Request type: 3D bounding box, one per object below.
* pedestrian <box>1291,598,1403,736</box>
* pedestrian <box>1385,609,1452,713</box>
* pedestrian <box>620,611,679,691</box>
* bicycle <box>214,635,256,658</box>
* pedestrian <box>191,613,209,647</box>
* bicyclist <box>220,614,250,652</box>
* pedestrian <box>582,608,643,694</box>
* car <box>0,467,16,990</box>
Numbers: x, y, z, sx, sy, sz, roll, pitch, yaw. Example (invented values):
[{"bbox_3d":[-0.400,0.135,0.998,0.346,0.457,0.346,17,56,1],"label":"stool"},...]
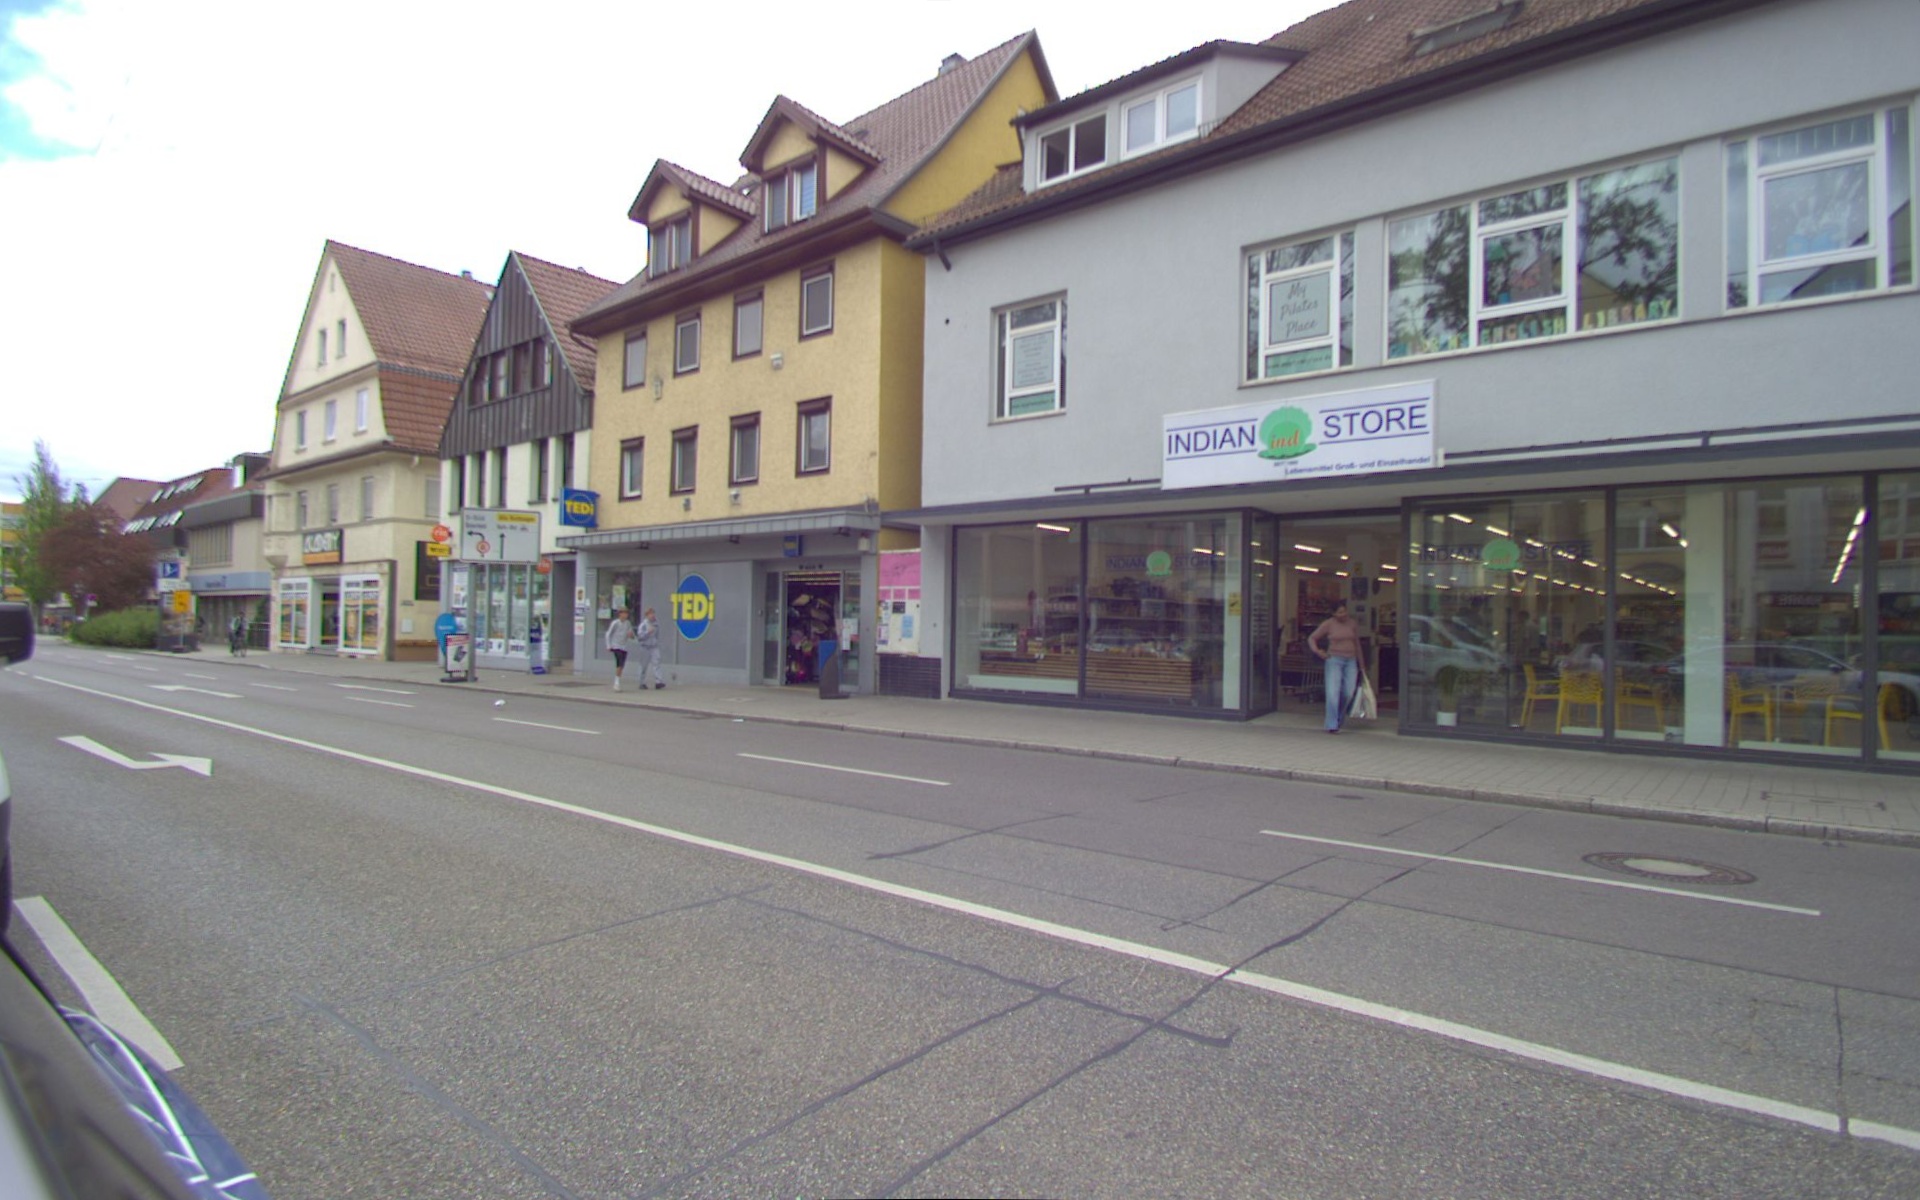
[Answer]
[{"bbox_3d":[4.904,0.819,12.849,0.984,1.679,0.875,0,-1,-25],"label":"pedestrian"},{"bbox_3d":[7.235,0.953,15.990,0.840,1.592,0.721,0,-2,15],"label":"pedestrian"},{"bbox_3d":[-6.400,1.036,20.853,0.920,1.595,0.801,-1,-2,42],"label":"pedestrian"},{"bbox_3d":[-27.685,1.753,38.627,2.238,0.829,0.763,-1,-2,41],"label":"bicycle"},{"bbox_3d":[-44.054,1.739,58.636,0.678,1.917,0.665,-1,-2,41],"label":"pedestrian"},{"bbox_3d":[-27.679,1.250,38.651,0.751,1.434,0.763,-1,-2,40],"label":"bicyclist"},{"bbox_3d":[-6.948,1.004,20.221,0.920,1.674,0.801,-1,-2,42],"label":"pedestrian"},{"bbox_3d":[-6.433,0.537,5.073,5.777,1.994,1.915,-1,0,41],"label":"car"}]
